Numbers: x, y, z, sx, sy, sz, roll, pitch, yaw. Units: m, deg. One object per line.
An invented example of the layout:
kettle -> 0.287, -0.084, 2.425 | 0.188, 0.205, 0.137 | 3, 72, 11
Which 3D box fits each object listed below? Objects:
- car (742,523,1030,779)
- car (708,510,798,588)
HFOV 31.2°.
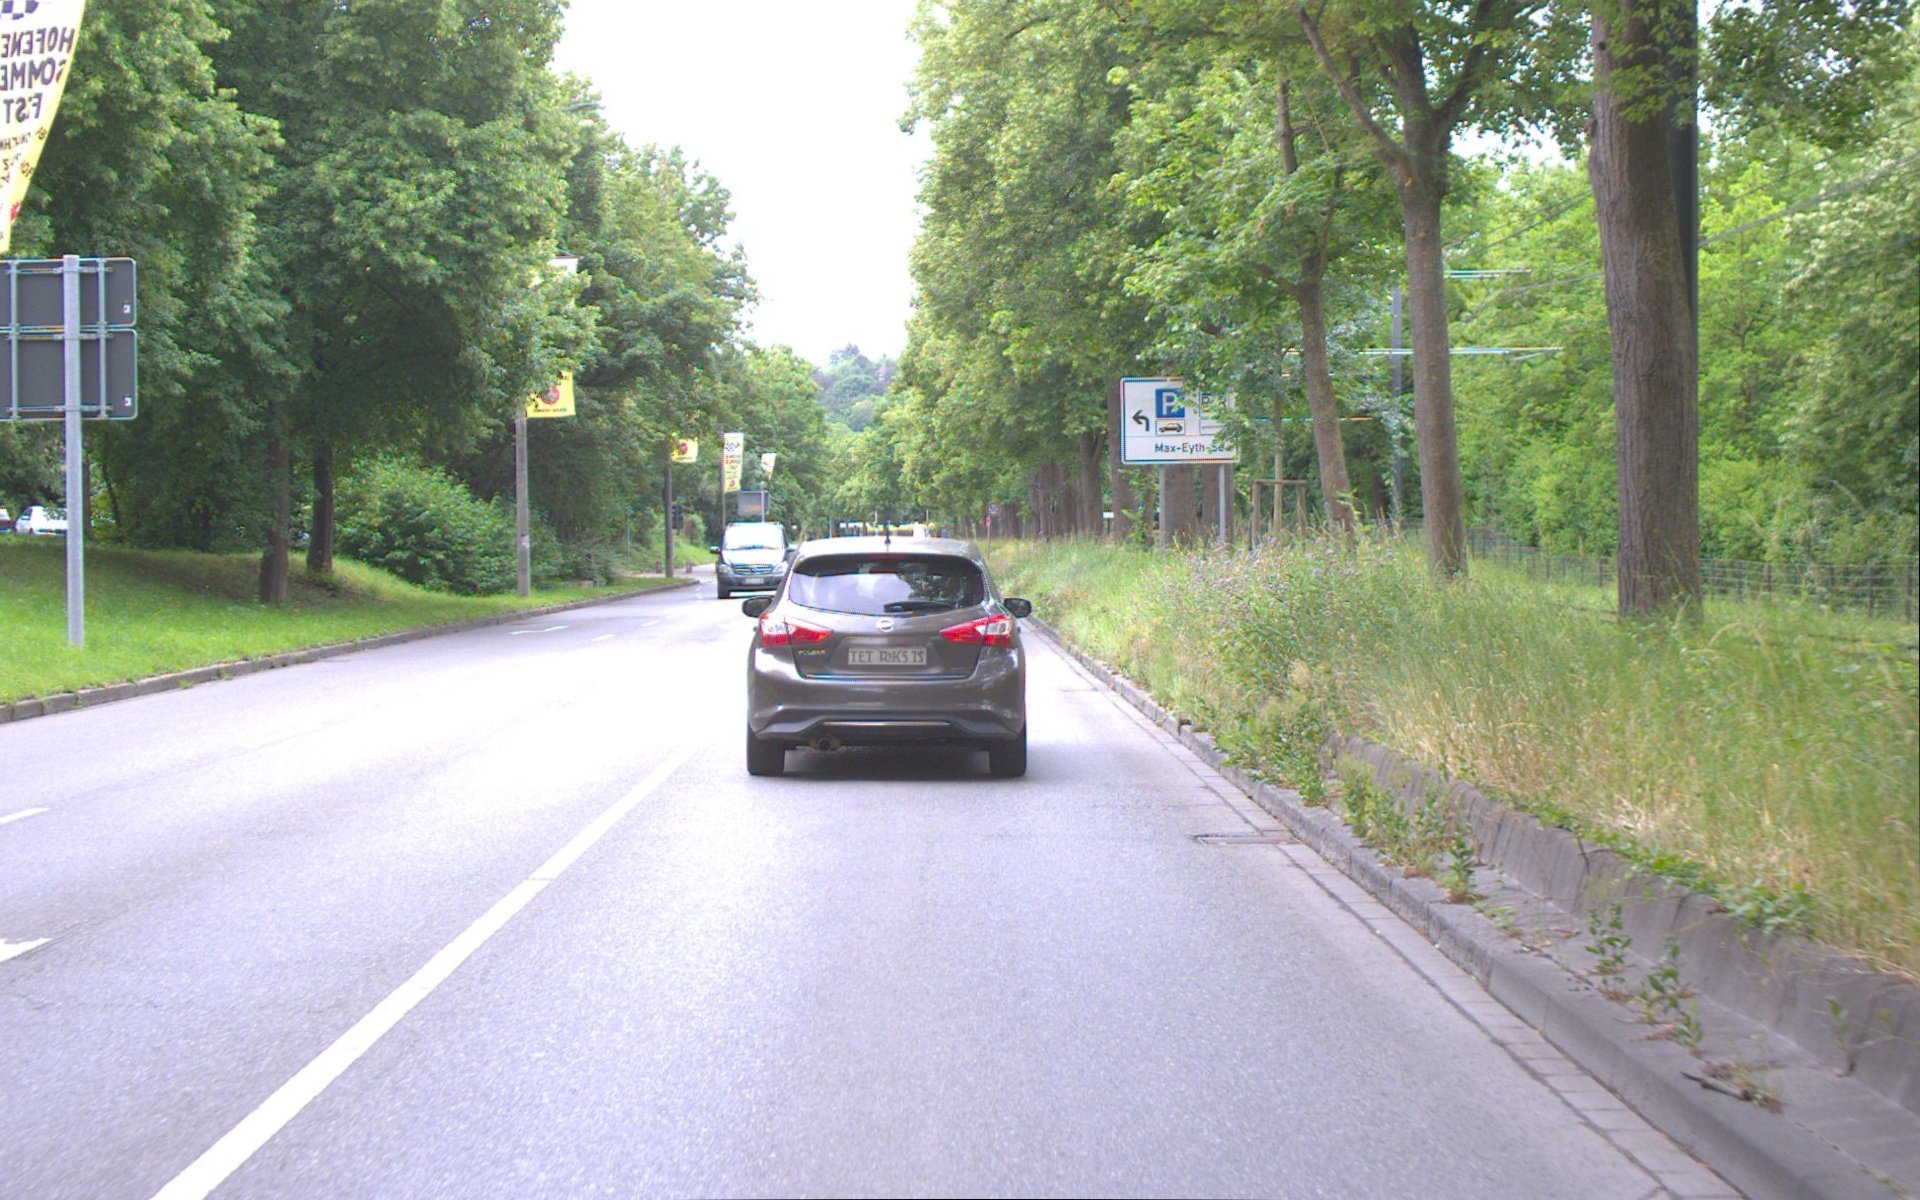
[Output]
car -> -0.484, 0.290, 22.666 | 1.730, 1.532, 3.552 | 1, 1, -1
car -> -5.340, -1.309, 89.358 | 1.993, 1.949, 5.184 | -1, 1, 0
